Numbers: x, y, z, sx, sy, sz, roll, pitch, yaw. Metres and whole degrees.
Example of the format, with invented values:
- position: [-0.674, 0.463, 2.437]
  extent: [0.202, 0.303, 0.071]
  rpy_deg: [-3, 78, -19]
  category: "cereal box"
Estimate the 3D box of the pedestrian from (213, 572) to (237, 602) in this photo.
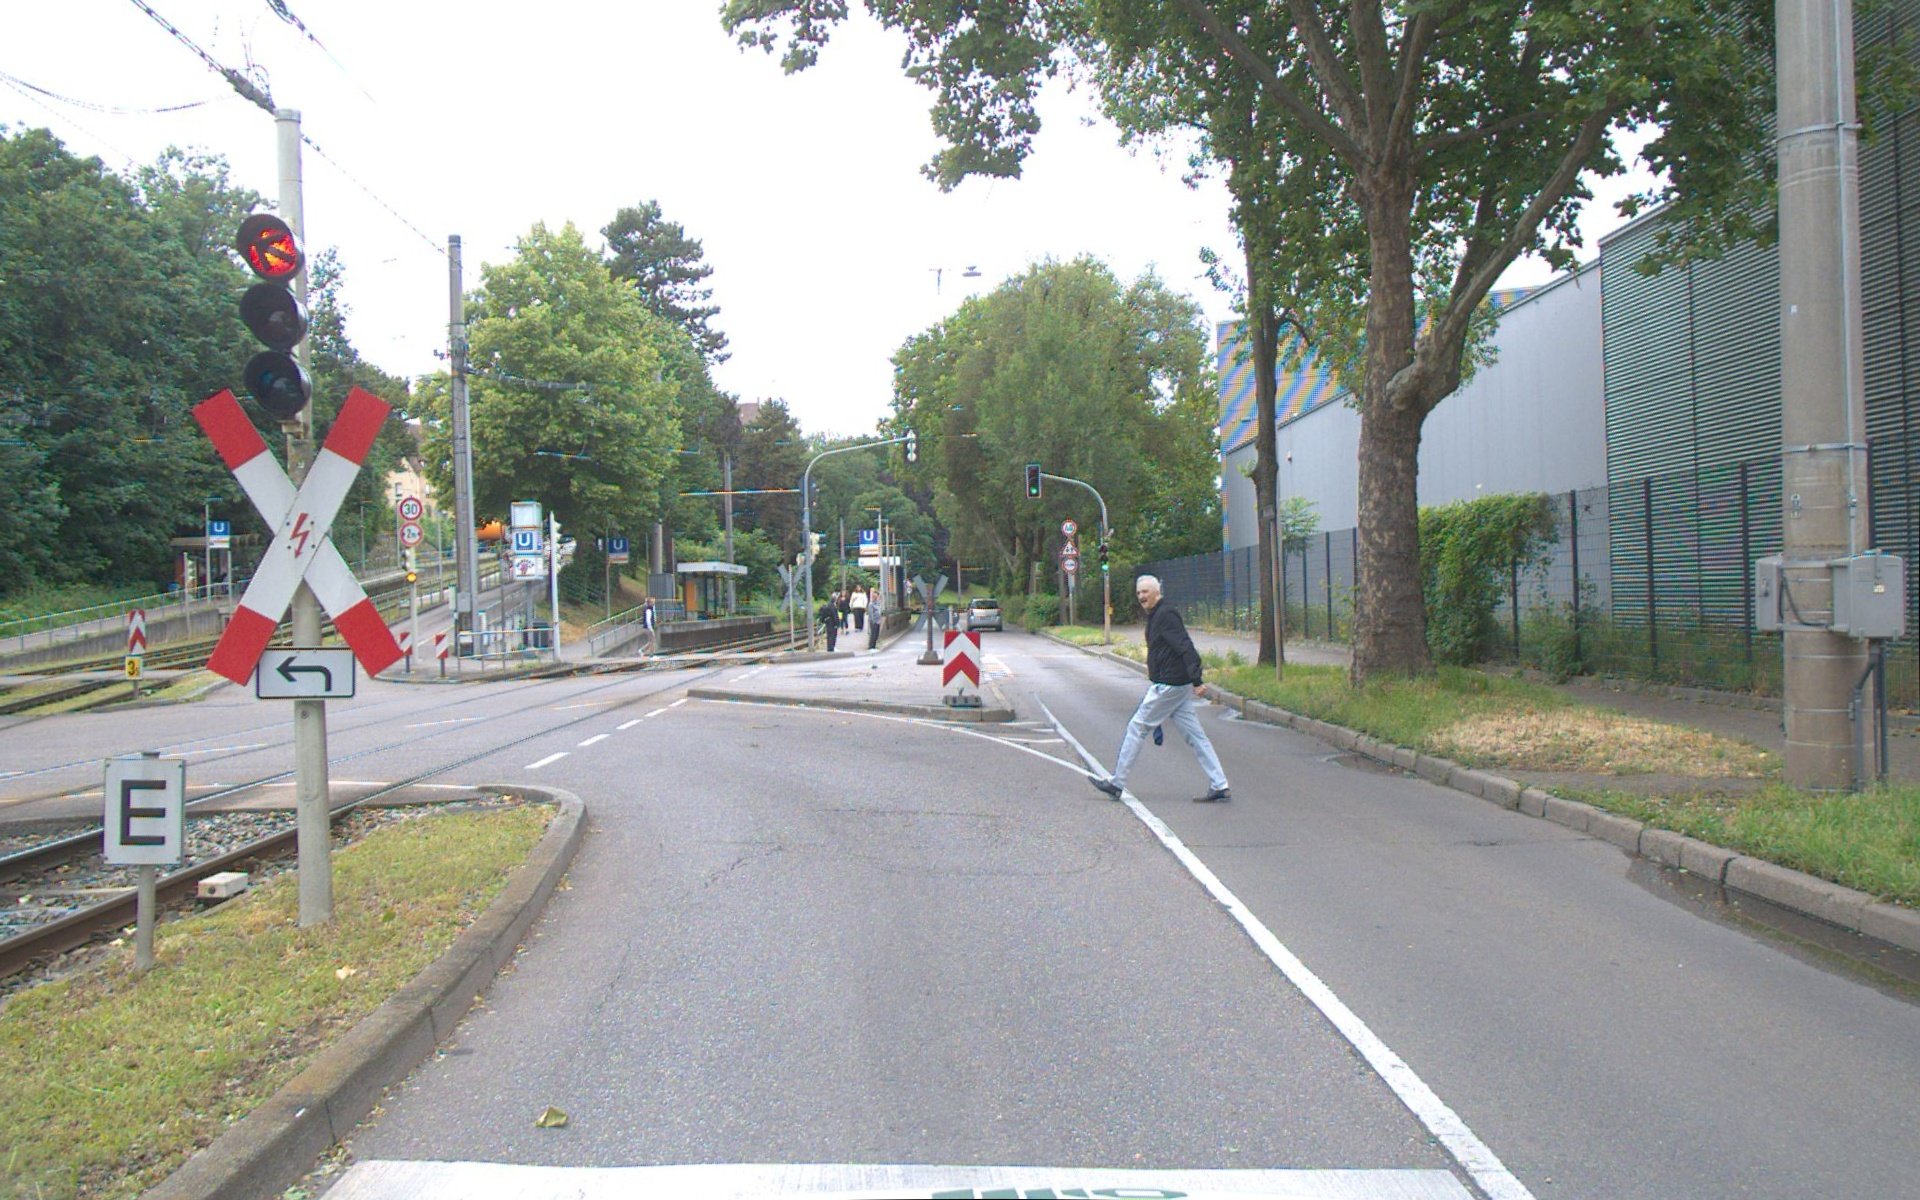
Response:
- position: [-33.545, -0.603, 75.499]
  extent: [0.757, 1.349, 0.785]
  rpy_deg: [1, 0, -9]
  category: "pedestrian"

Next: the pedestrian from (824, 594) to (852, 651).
- position: [-3.667, 0.683, 49.680]
  extent: [0.665, 1.694, 0.738]
  rpy_deg: [1, -1, 9]
  category: "pedestrian"

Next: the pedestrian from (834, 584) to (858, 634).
- position: [-3.900, 0.316, 56.643]
  extent: [0.722, 1.694, 0.680]
  rpy_deg: [1, -1, -11]
  category: "pedestrian"

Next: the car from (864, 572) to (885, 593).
- position: [-8.626, -1.744, 167.739]
  extent: [1.953, 2.049, 3.999]
  rpy_deg: [1, 0, -1]
  category: "car"

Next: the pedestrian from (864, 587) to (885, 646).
- position: [-2.627, 0.508, 50.738]
  extent: [0.538, 1.789, 0.738]
  rpy_deg: [1, -1, 4]
  category: "pedestrian"

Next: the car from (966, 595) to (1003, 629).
- position: [1.196, 0.624, 82.543]
  extent: [1.708, 1.627, 3.999]
  rpy_deg: [1, -1, -1]
  category: "car"

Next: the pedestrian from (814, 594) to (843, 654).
- position: [-3.722, 0.673, 46.895]
  extent: [0.720, 1.694, 0.682]
  rpy_deg: [1, -1, 1]
  category: "pedestrian"

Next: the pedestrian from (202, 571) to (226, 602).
- position: [-33.501, -0.607, 74.276]
  extent: [0.757, 1.349, 0.786]
  rpy_deg: [1, 2, -9]
  category: "pedestrian"

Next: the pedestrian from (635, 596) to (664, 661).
- position: [-8.892, 0.817, 47.381]
  extent: [0.788, 1.853, 0.669]
  rpy_deg: [1, -1, -10]
  category: "pedestrian"

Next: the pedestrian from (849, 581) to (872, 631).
- position: [-3.464, 0.207, 57.548]
  extent: [0.722, 1.694, 0.680]
  rpy_deg: [1, -1, -11]
  category: "pedestrian"

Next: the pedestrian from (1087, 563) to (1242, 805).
- position: [1.594, 0.622, 12.798]
  extent: [1.093, 1.791, 0.814]
  rpy_deg: [1, 0, 13]
  category: "pedestrian"
